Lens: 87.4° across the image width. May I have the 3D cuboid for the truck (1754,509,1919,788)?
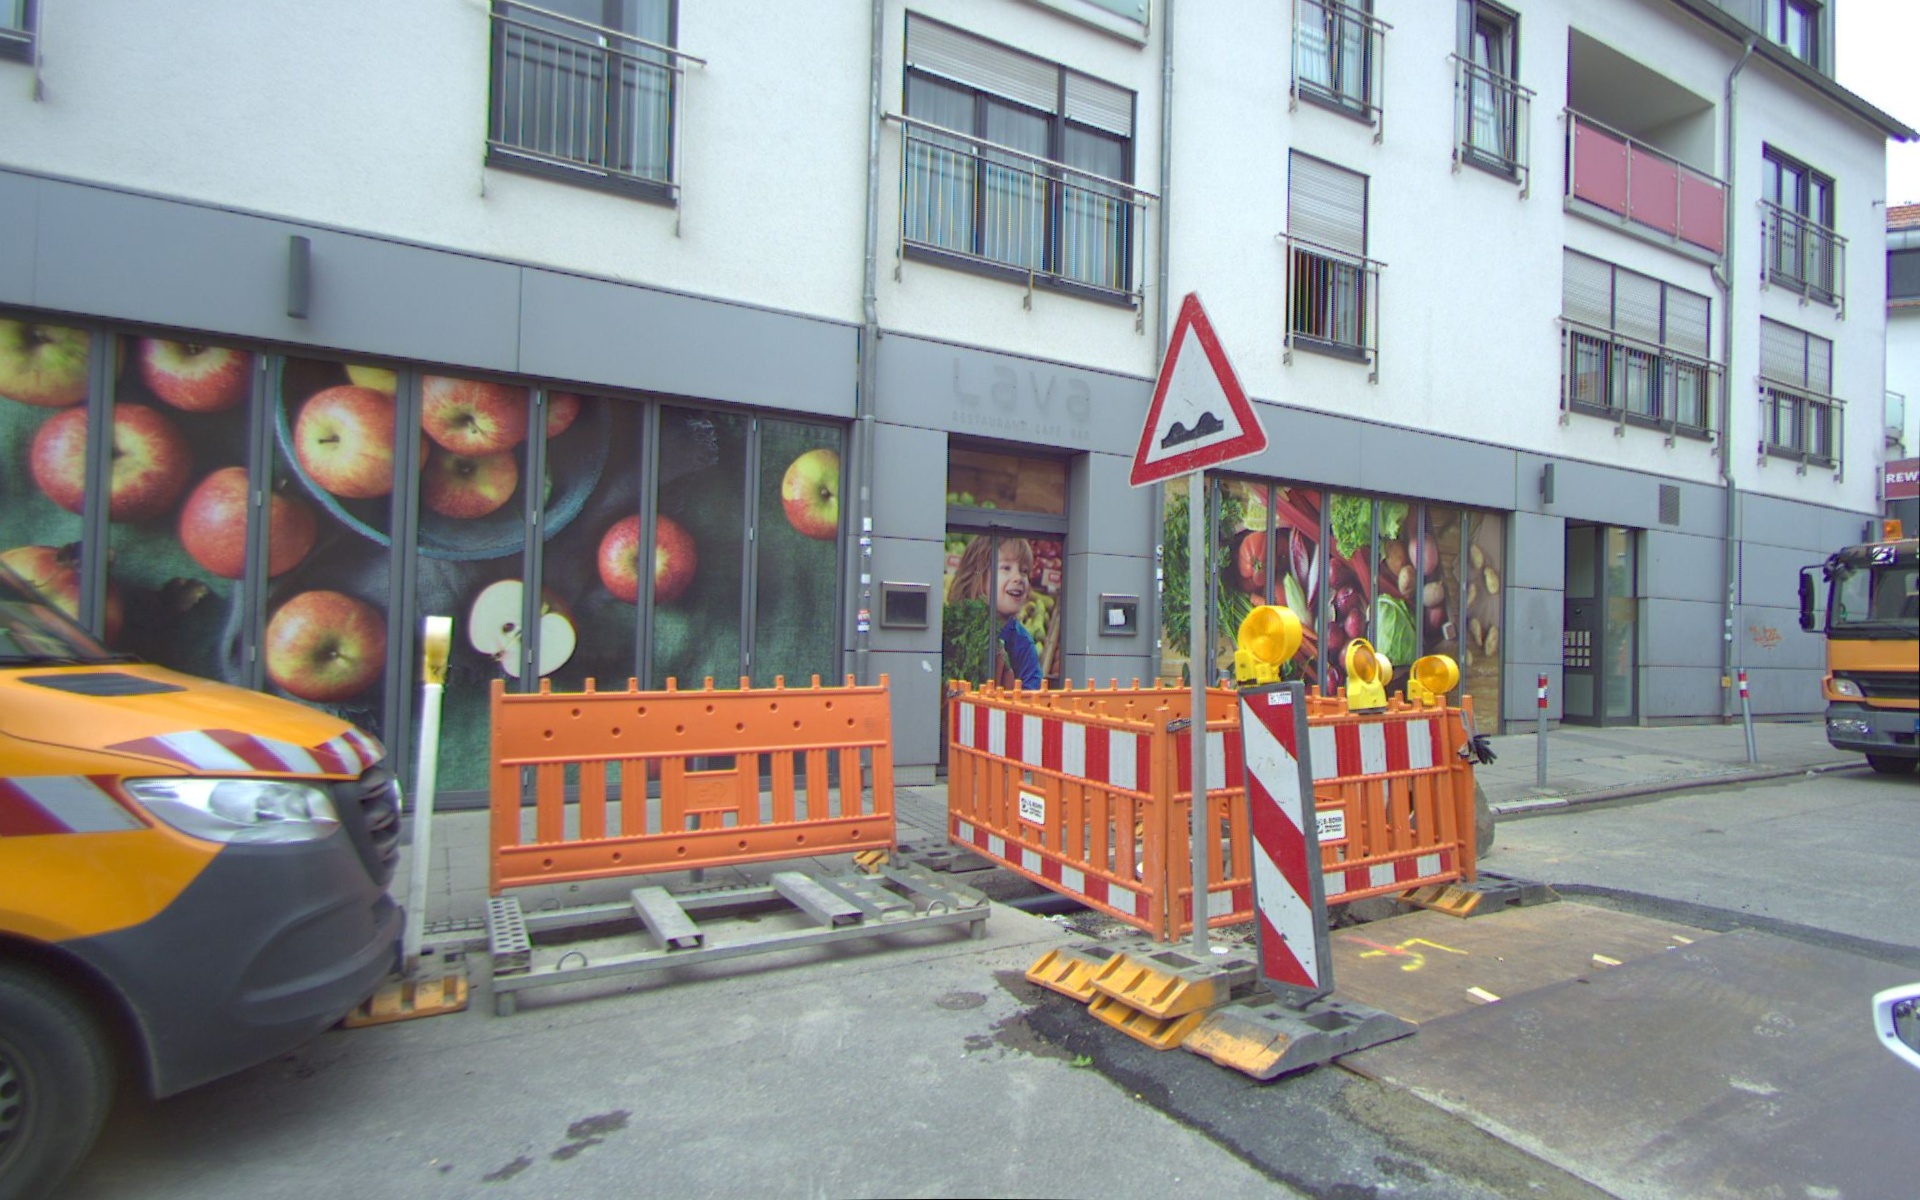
[{"bbox_3d":[12.519,0.521,11.505,6.756,2.761,2.723,1,-1,-26],"label":"truck"}]

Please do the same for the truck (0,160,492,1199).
[{"bbox_3d":[-4.602,0.239,2.324,6.232,2.498,2.403,1,-2,-30],"label":"truck"}]
